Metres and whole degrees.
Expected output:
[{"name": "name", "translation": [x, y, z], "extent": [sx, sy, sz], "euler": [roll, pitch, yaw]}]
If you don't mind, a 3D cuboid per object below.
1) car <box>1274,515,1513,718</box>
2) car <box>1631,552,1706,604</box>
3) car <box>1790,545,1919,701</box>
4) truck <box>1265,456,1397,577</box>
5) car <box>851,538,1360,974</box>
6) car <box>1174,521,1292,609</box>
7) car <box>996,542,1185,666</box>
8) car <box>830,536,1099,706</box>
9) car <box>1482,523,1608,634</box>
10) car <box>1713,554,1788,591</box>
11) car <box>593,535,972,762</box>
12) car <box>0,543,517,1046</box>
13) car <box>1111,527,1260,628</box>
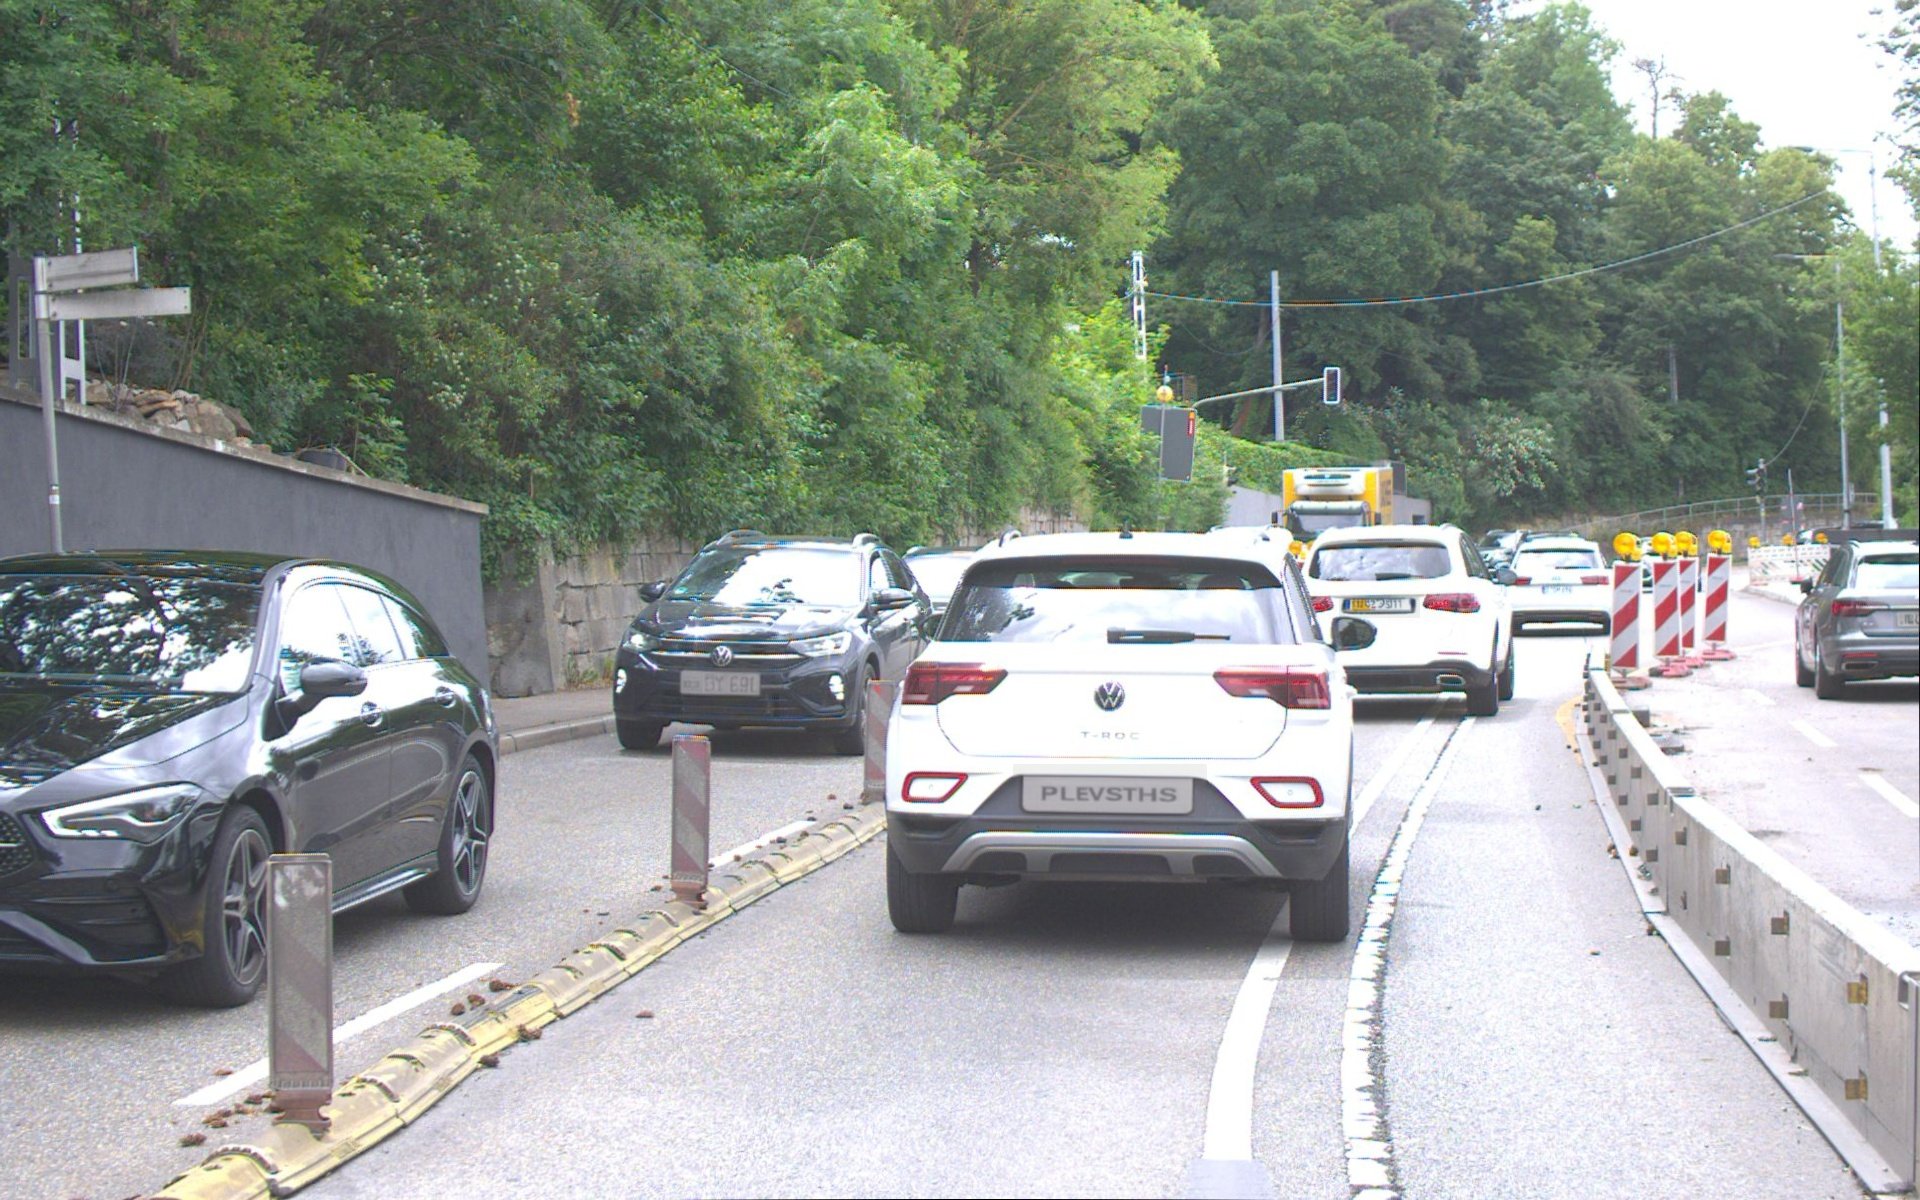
[{"name": "car", "translation": [3.882, 0.100, 30.301], "extent": [1.810, 1.657, 3.998], "euler": [-1, 1, 11]}, {"name": "car", "translation": [19.051, -0.614, 92.509], "extent": [1.795, 1.363, 3.999], "euler": [0, 1, 9]}, {"name": "car", "translation": [8.750, 0.170, 32.010], "extent": [1.795, 1.363, 3.998], "euler": [0, 1, 11]}, {"name": "truck", "translation": [10.237, -2.238, 94.348], "extent": [2.905, 3.144, 7.580], "euler": [0, 1, 11]}, {"name": "car", "translation": [0.739, 0.518, 14.304], "extent": [1.810, 1.526, 3.999], "euler": [1, 1, 6]}, {"name": "car", "translation": [4.827, -0.628, 60.420], "extent": [1.768, 1.447, 4.307], "euler": [2, 1, 8]}, {"name": "car", "translation": [1.701, 0.012, 43.482], "extent": [1.768, 1.447, 4.307], "euler": [2, 1, 10]}, {"name": "car", "translation": [0.119, 0.150, 32.384], "extent": [1.768, 1.447, 4.307], "euler": [2, 1, 10]}, {"name": "car", "translation": [9.205, -0.362, 53.920], "extent": [1.810, 1.657, 3.998], "euler": [-1, 1, 11]}, {"name": "car", "translation": [30.124, -1.060, 130.946], "extent": [1.797, 1.363, 3.994], "euler": [0, 1, 29]}, {"name": "car", "translation": [-1.174, 0.287, 24.851], "extent": [1.768, 1.447, 4.307], "euler": [2, 1, 10]}, {"name": "car", "translation": [-2.982, 0.533, 12.296], "extent": [1.768, 1.430, 4.308], "euler": [2, 1, 6]}, {"name": "car", "translation": [3.507, -0.362, 52.863], "extent": [1.768, 1.447, 4.307], "euler": [2, 1, 10]}]
